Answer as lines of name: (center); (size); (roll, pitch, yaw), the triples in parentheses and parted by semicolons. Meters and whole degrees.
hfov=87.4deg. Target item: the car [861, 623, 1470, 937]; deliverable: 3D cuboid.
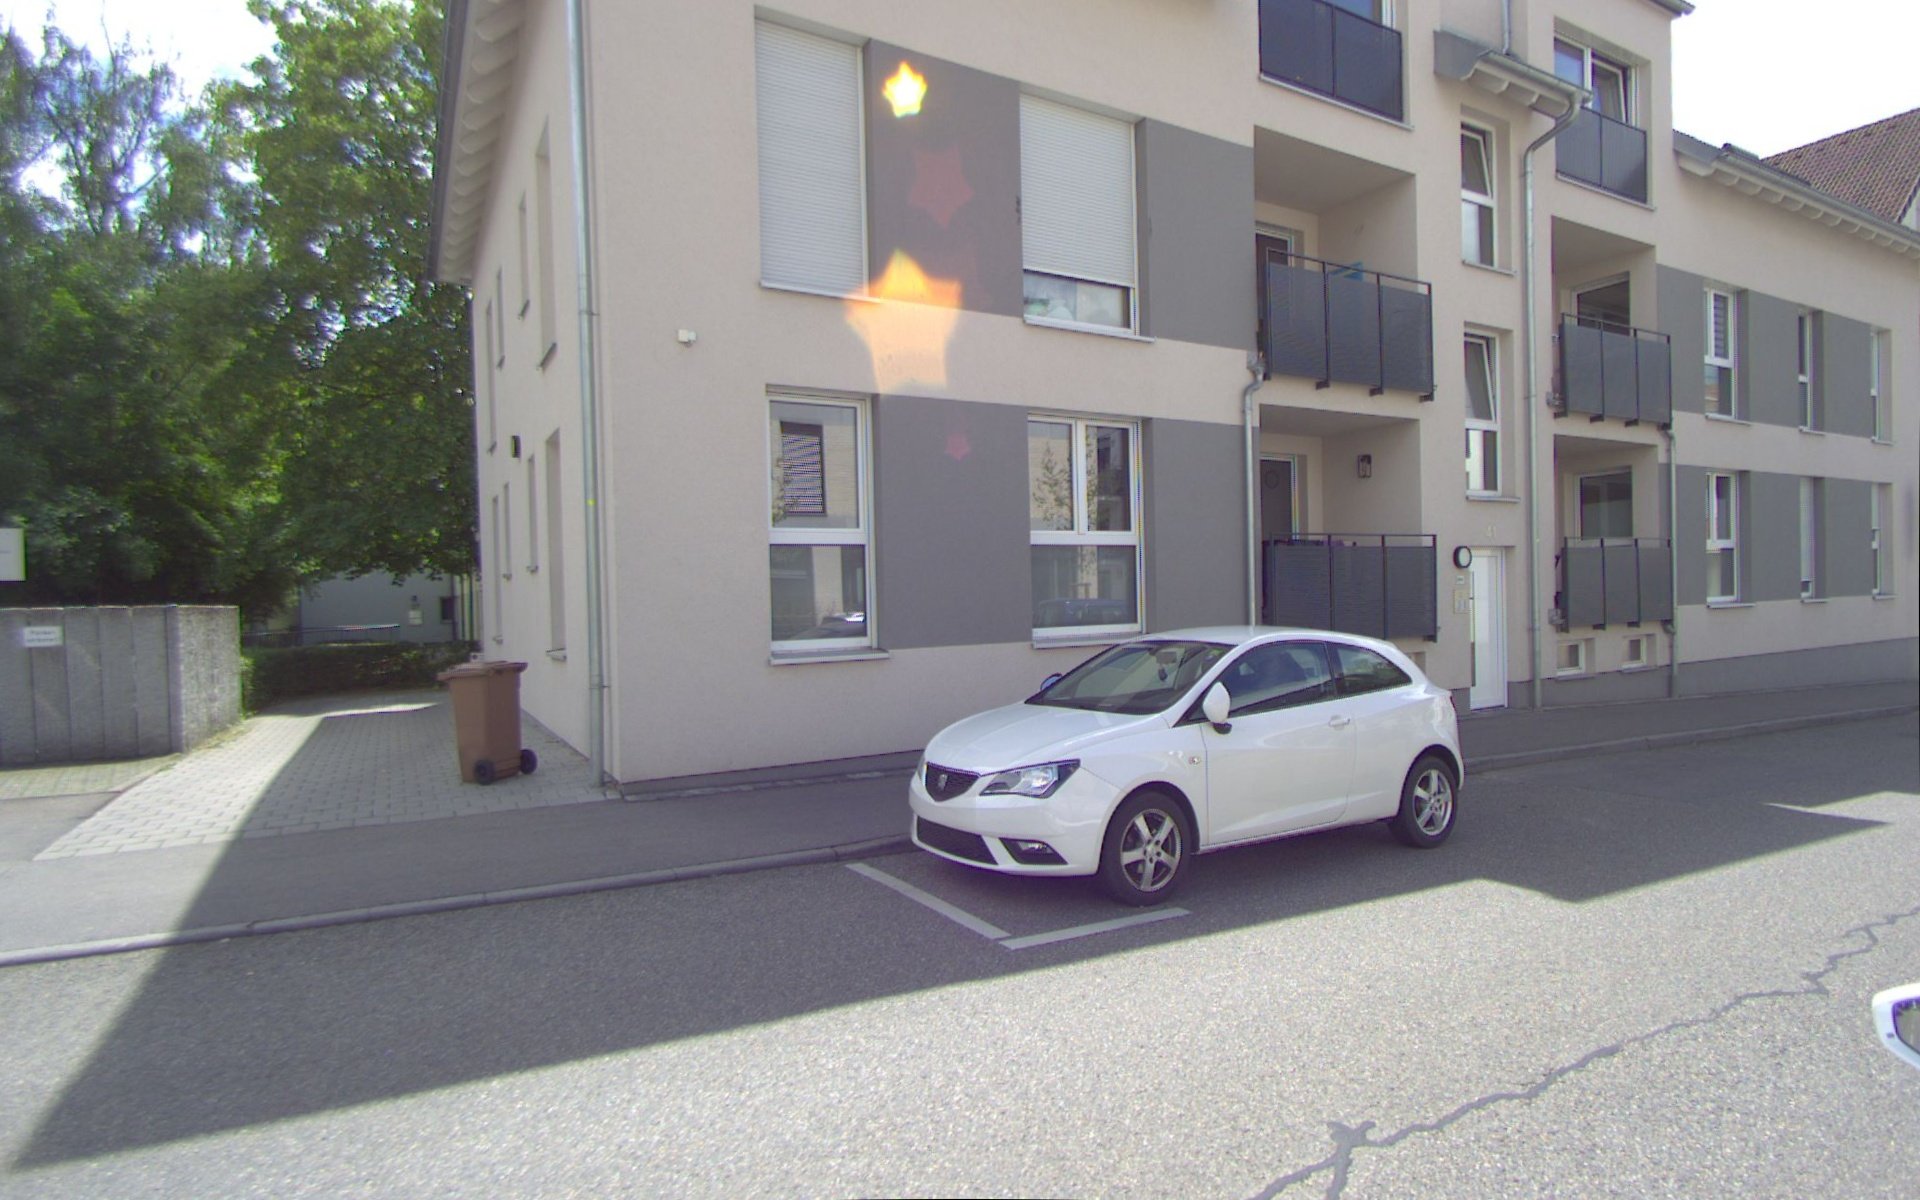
car: (1.375, 0.870, 6.325); (3.657, 1.437, 1.638); (1, -1, -32)

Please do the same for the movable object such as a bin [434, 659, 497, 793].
movable object such as a bin: (-3.814, 0.954, 7.746); (0.387, 0.966, 0.411); (1, 0, -33)
